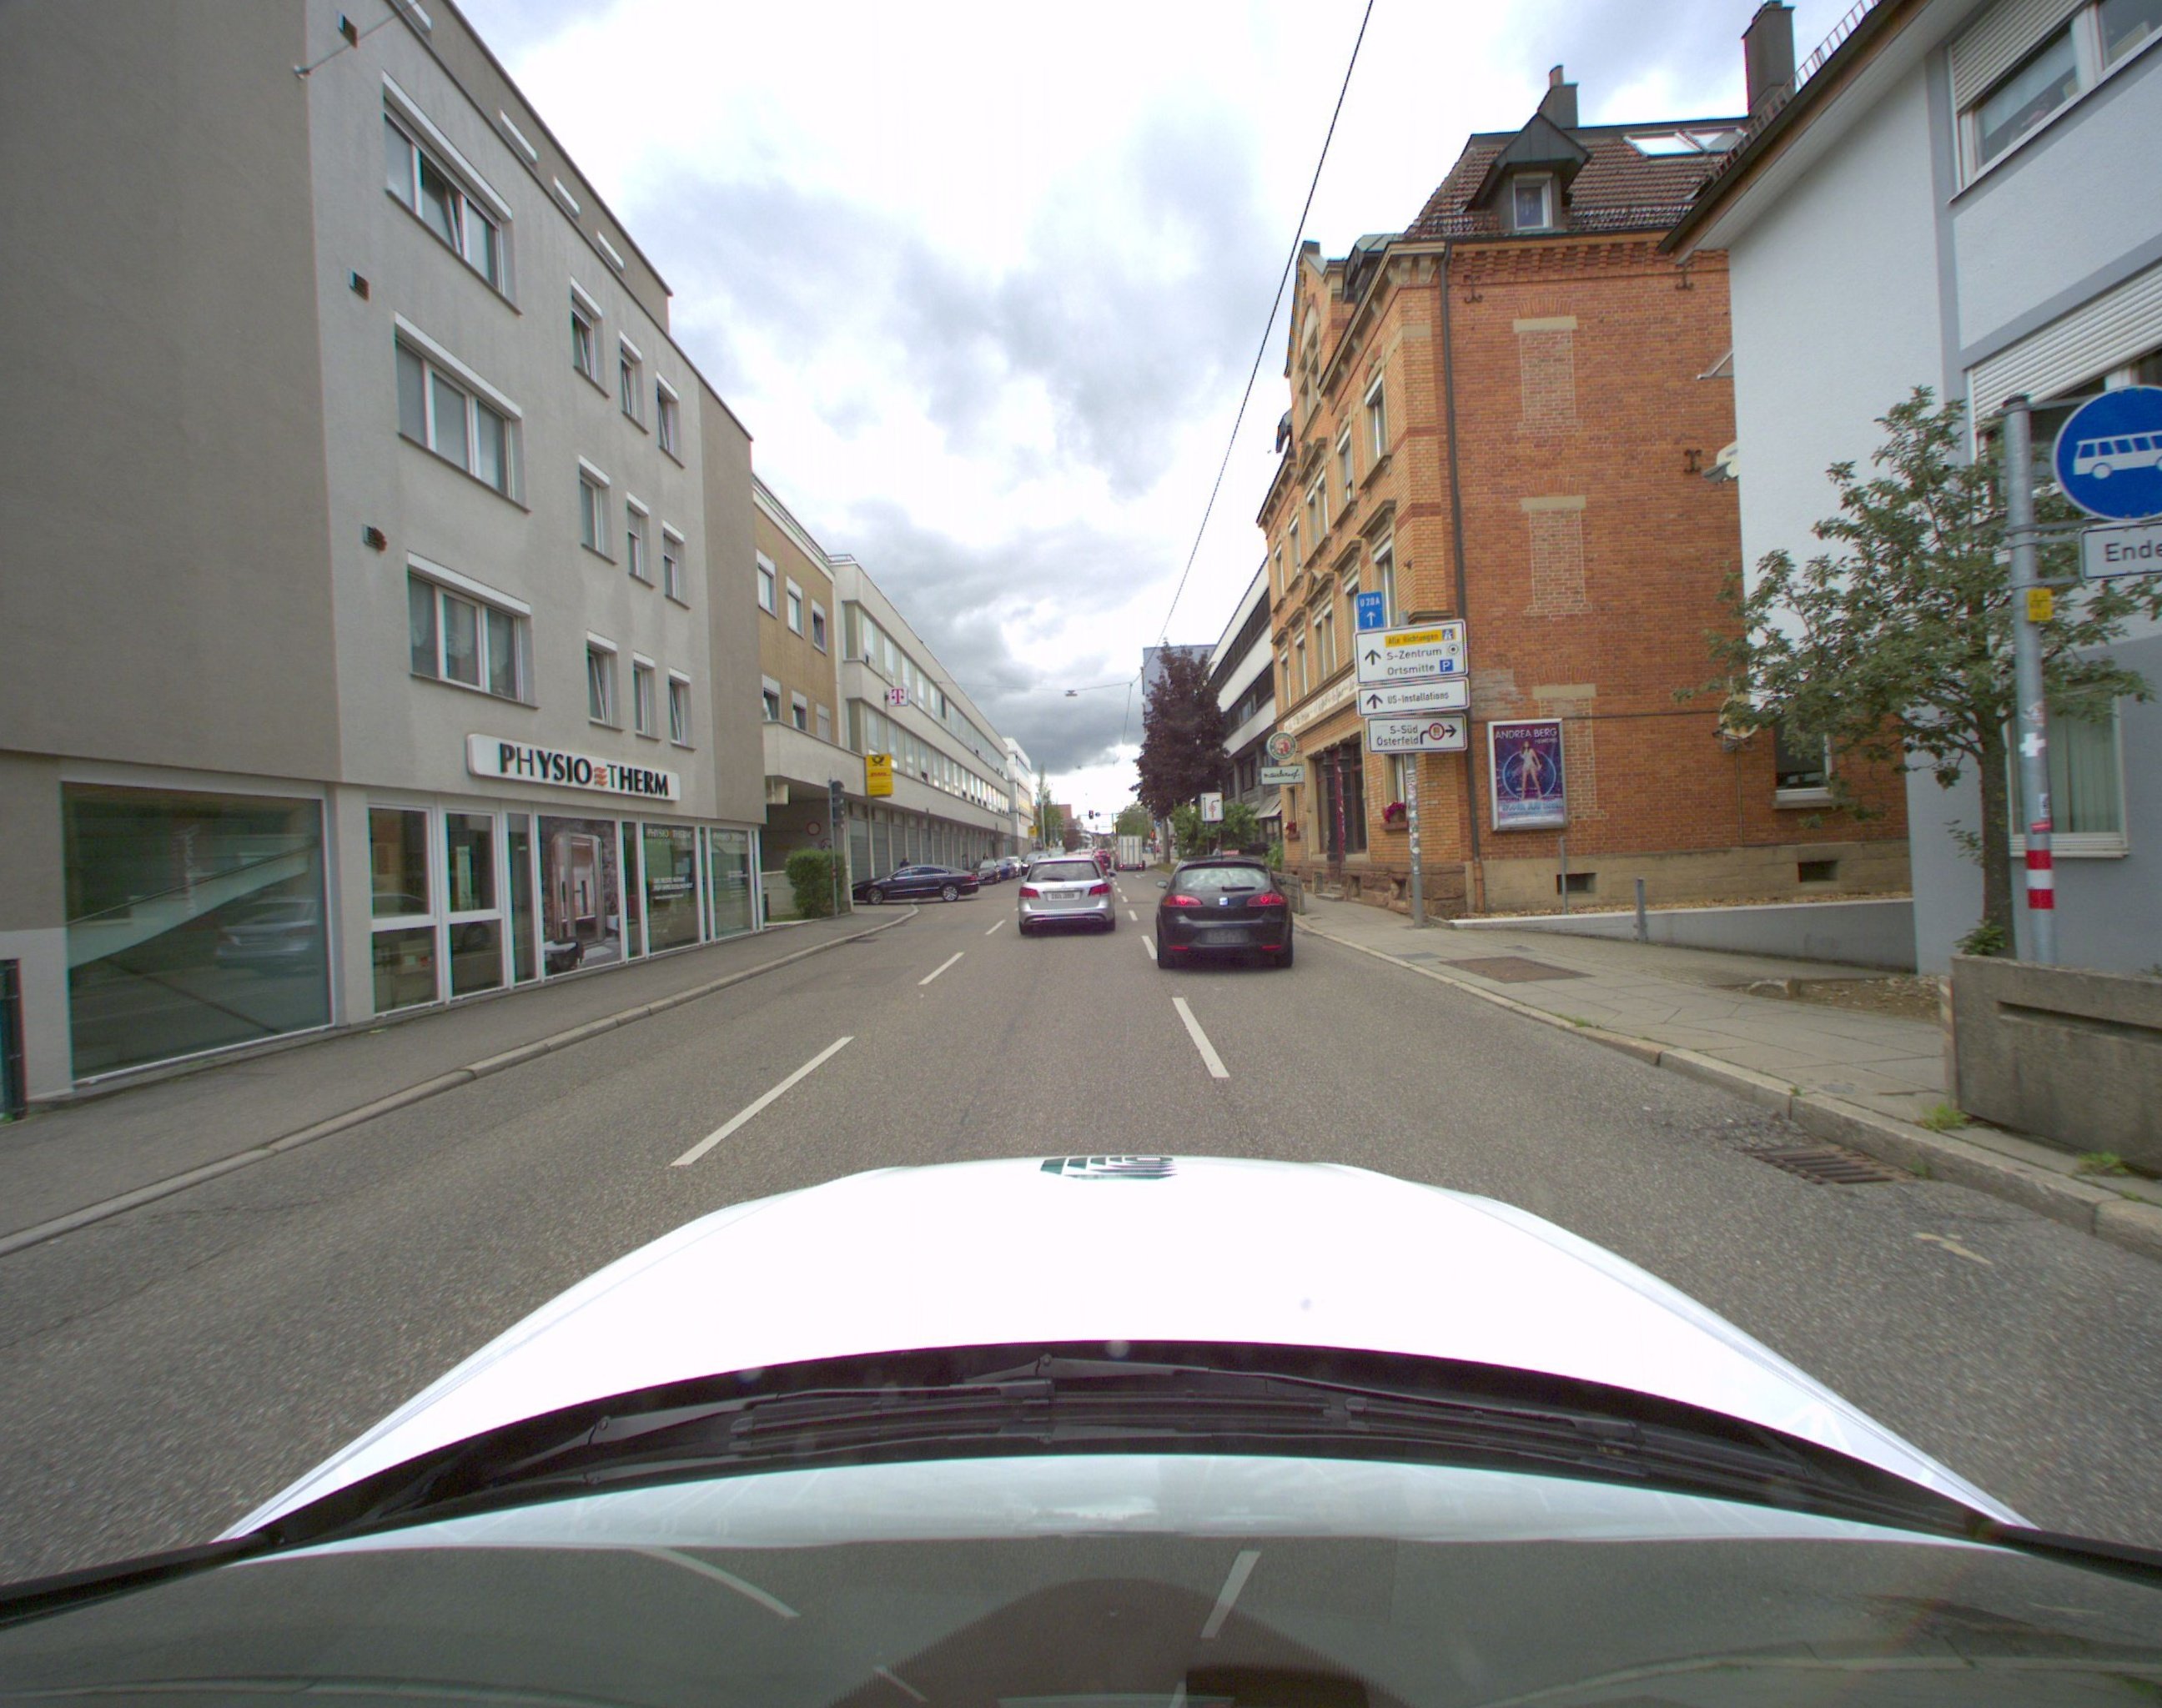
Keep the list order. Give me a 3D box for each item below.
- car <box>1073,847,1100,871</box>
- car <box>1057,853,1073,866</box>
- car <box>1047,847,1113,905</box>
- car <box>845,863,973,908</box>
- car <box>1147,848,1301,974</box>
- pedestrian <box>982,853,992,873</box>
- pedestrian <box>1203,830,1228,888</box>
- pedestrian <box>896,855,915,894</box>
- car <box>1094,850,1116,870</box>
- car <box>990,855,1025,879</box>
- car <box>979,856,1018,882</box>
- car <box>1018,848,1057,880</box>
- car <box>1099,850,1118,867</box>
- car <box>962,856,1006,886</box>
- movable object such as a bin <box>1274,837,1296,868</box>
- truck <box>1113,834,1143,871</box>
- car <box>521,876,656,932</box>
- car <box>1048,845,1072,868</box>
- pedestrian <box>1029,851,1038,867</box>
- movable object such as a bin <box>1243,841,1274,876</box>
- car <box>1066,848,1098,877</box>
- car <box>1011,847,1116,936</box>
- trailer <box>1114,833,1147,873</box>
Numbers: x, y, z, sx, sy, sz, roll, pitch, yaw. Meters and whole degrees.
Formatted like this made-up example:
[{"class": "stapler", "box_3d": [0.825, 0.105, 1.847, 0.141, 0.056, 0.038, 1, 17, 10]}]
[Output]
[{"class": "car", "box_3d": [0.392, 0.351, 57.221, 1.797, 1.601, 3.738, -2, 0, 1]}, {"class": "car", "box_3d": [-1.874, 0.633, 96.938, 1.763, 1.413, 4.175, -4, 0, 1]}, {"class": "car", "box_3d": [0.008, 0.624, 24.948, 1.797, 1.553, 3.738, -3, 0, 1]}, {"class": "car", "box_3d": [-6.236, 1.133, 30.009, 4.395, 1.365, 1.781, -3, 0, -8]}, {"class": "car", "box_3d": [1.973, 0.675, 11.713, 1.756, 1.433, 3.837, -3, 0, 8]}, {"class": "pedestrian", "box_3d": [-7.964, 0.771, 68.692, 0.653, 1.623, 0.681, -3, 0, 2]}, {"class": "pedestrian", "box_3d": [4.867, 0.180, 29.402, 0.691, 2.013, 0.676, -3, 0, 0]}, {"class": "pedestrian", "box_3d": [-8.287, 0.973, 38.437, 0.640, 1.769, 0.810, -3, 0, 0]}, {"class": "car", "box_3d": [2.046, 0.511, 70.803, 1.797, 1.601, 3.738, -2, 0, 1]}, {"class": "car", "box_3d": [-5.257, 0.887, 58.552, 1.987, 1.516, 4.175, -3, 0, 1]}, {"class": "car", "box_3d": [-5.300, 0.922, 52.847, 1.987, 1.516, 4.175, -3, 0, 1]}, {"class": "car", "box_3d": [-2.675, 0.599, 50.860, 1.987, 1.738, 4.554, -4, 0, 1]}, {"class": "car", "box_3d": [2.784, 0.436, 83.584, 1.797, 1.601, 3.738, -2, 0, 1]}, {"class": "car", "box_3d": [-5.562, 0.955, 47.206, 1.906, 1.516, 4.175, -4, 0, 1]}, {"class": "movable object such as a bin", "box_3d": [10.215, -0.065, 40.757, 0.818, 1.504, 0.732, -5, -1, 2]}, {"class": "truck", "box_3d": [3.521, -0.090, 61.423, 1.987, 2.607, 3.260, -3, 0, 0]}, {"class": "car", "box_3d": [-14.934, 1.473, 24.936, 1.747, 1.457, 3.692, -1, 0, 2]}, {"class": "car", "box_3d": [-1.999, 0.209, 79.916, 1.987, 2.013, 4.903, -4, 0, 1]}, {"class": "pedestrian", "box_3d": [-5.652, 0.612, 96.278, 0.915, 1.869, 0.783, -3, 0, 0]}, {"class": "movable object such as a bin", "box_3d": [7.988, 0.184, 36.639, 0.940, 1.470, 1.445, -5, 0, -1]}, {"class": "car", "box_3d": [0.094, 0.495, 49.428, 1.797, 1.601, 3.738, -2, 0, 1]}, {"class": "car", "box_3d": [-0.286, 0.662, 16.397, 1.797, 1.492, 3.738, -3, 0, 1]}, {"class": "trailer", "box_3d": [3.490, -0.070, 58.648, 1.987, 2.607, 5.349, -3, 0, 1]}]
